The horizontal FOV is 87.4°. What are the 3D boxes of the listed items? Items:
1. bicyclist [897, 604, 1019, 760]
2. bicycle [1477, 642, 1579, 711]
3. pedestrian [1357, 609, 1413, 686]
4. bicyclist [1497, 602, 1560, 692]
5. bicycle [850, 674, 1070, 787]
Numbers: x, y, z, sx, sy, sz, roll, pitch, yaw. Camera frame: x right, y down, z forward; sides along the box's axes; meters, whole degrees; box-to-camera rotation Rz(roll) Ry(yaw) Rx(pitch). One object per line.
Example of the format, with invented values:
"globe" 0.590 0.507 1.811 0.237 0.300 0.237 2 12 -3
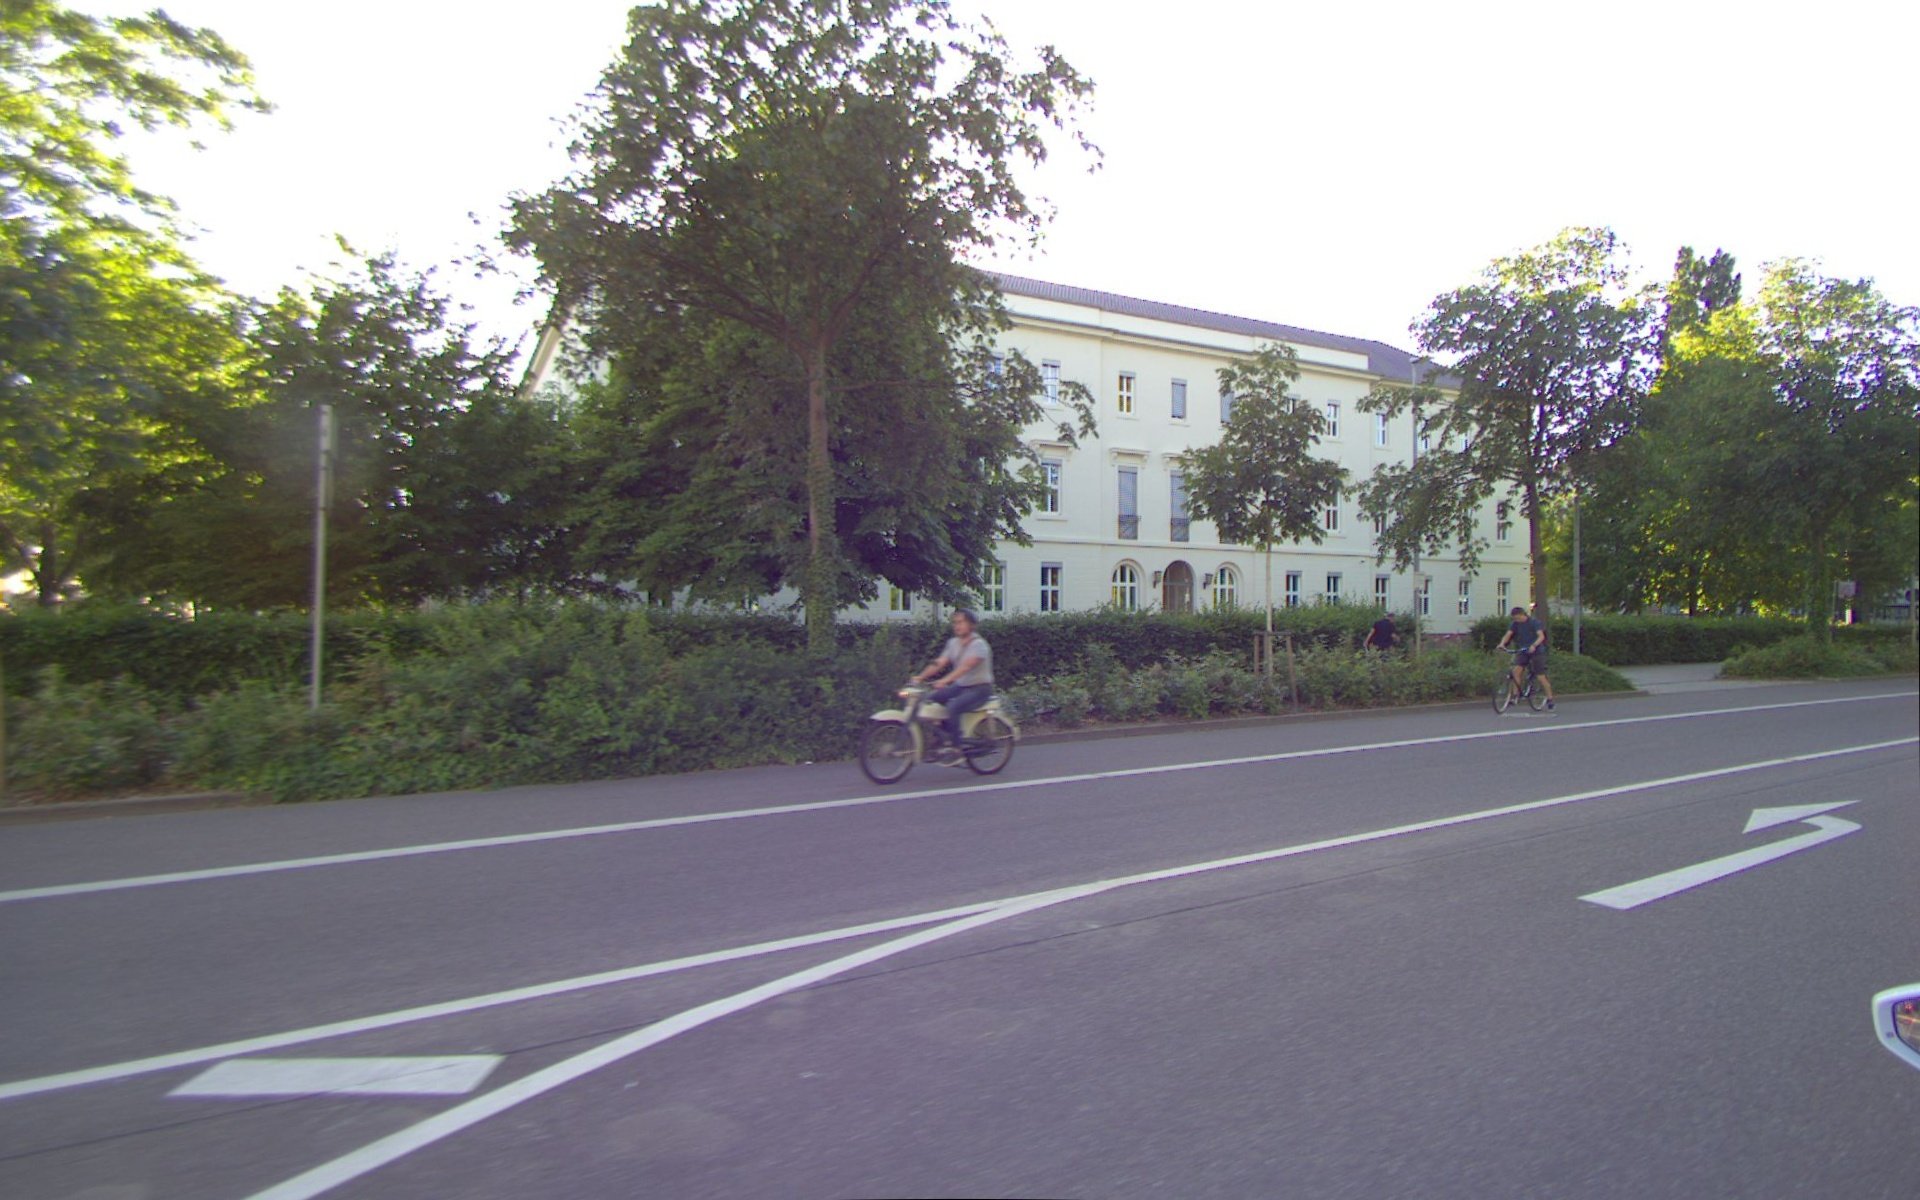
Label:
"bicyclist" -0.022 0.784 9.815 0.959 1.437 0.643 0 -4 -31
"bicycle" 9.962 1.327 17.597 2.003 1.135 0.594 1 -5 -31
"pedestrian" 10.564 1.169 24.988 0.989 1.876 0.852 1 -2 -30
"bicyclist" 9.996 0.826 17.666 0.716 1.542 0.626 0 -4 -31
"bicycle" 0.035 1.233 9.832 2.154 0.933 0.613 1 -2 -31
